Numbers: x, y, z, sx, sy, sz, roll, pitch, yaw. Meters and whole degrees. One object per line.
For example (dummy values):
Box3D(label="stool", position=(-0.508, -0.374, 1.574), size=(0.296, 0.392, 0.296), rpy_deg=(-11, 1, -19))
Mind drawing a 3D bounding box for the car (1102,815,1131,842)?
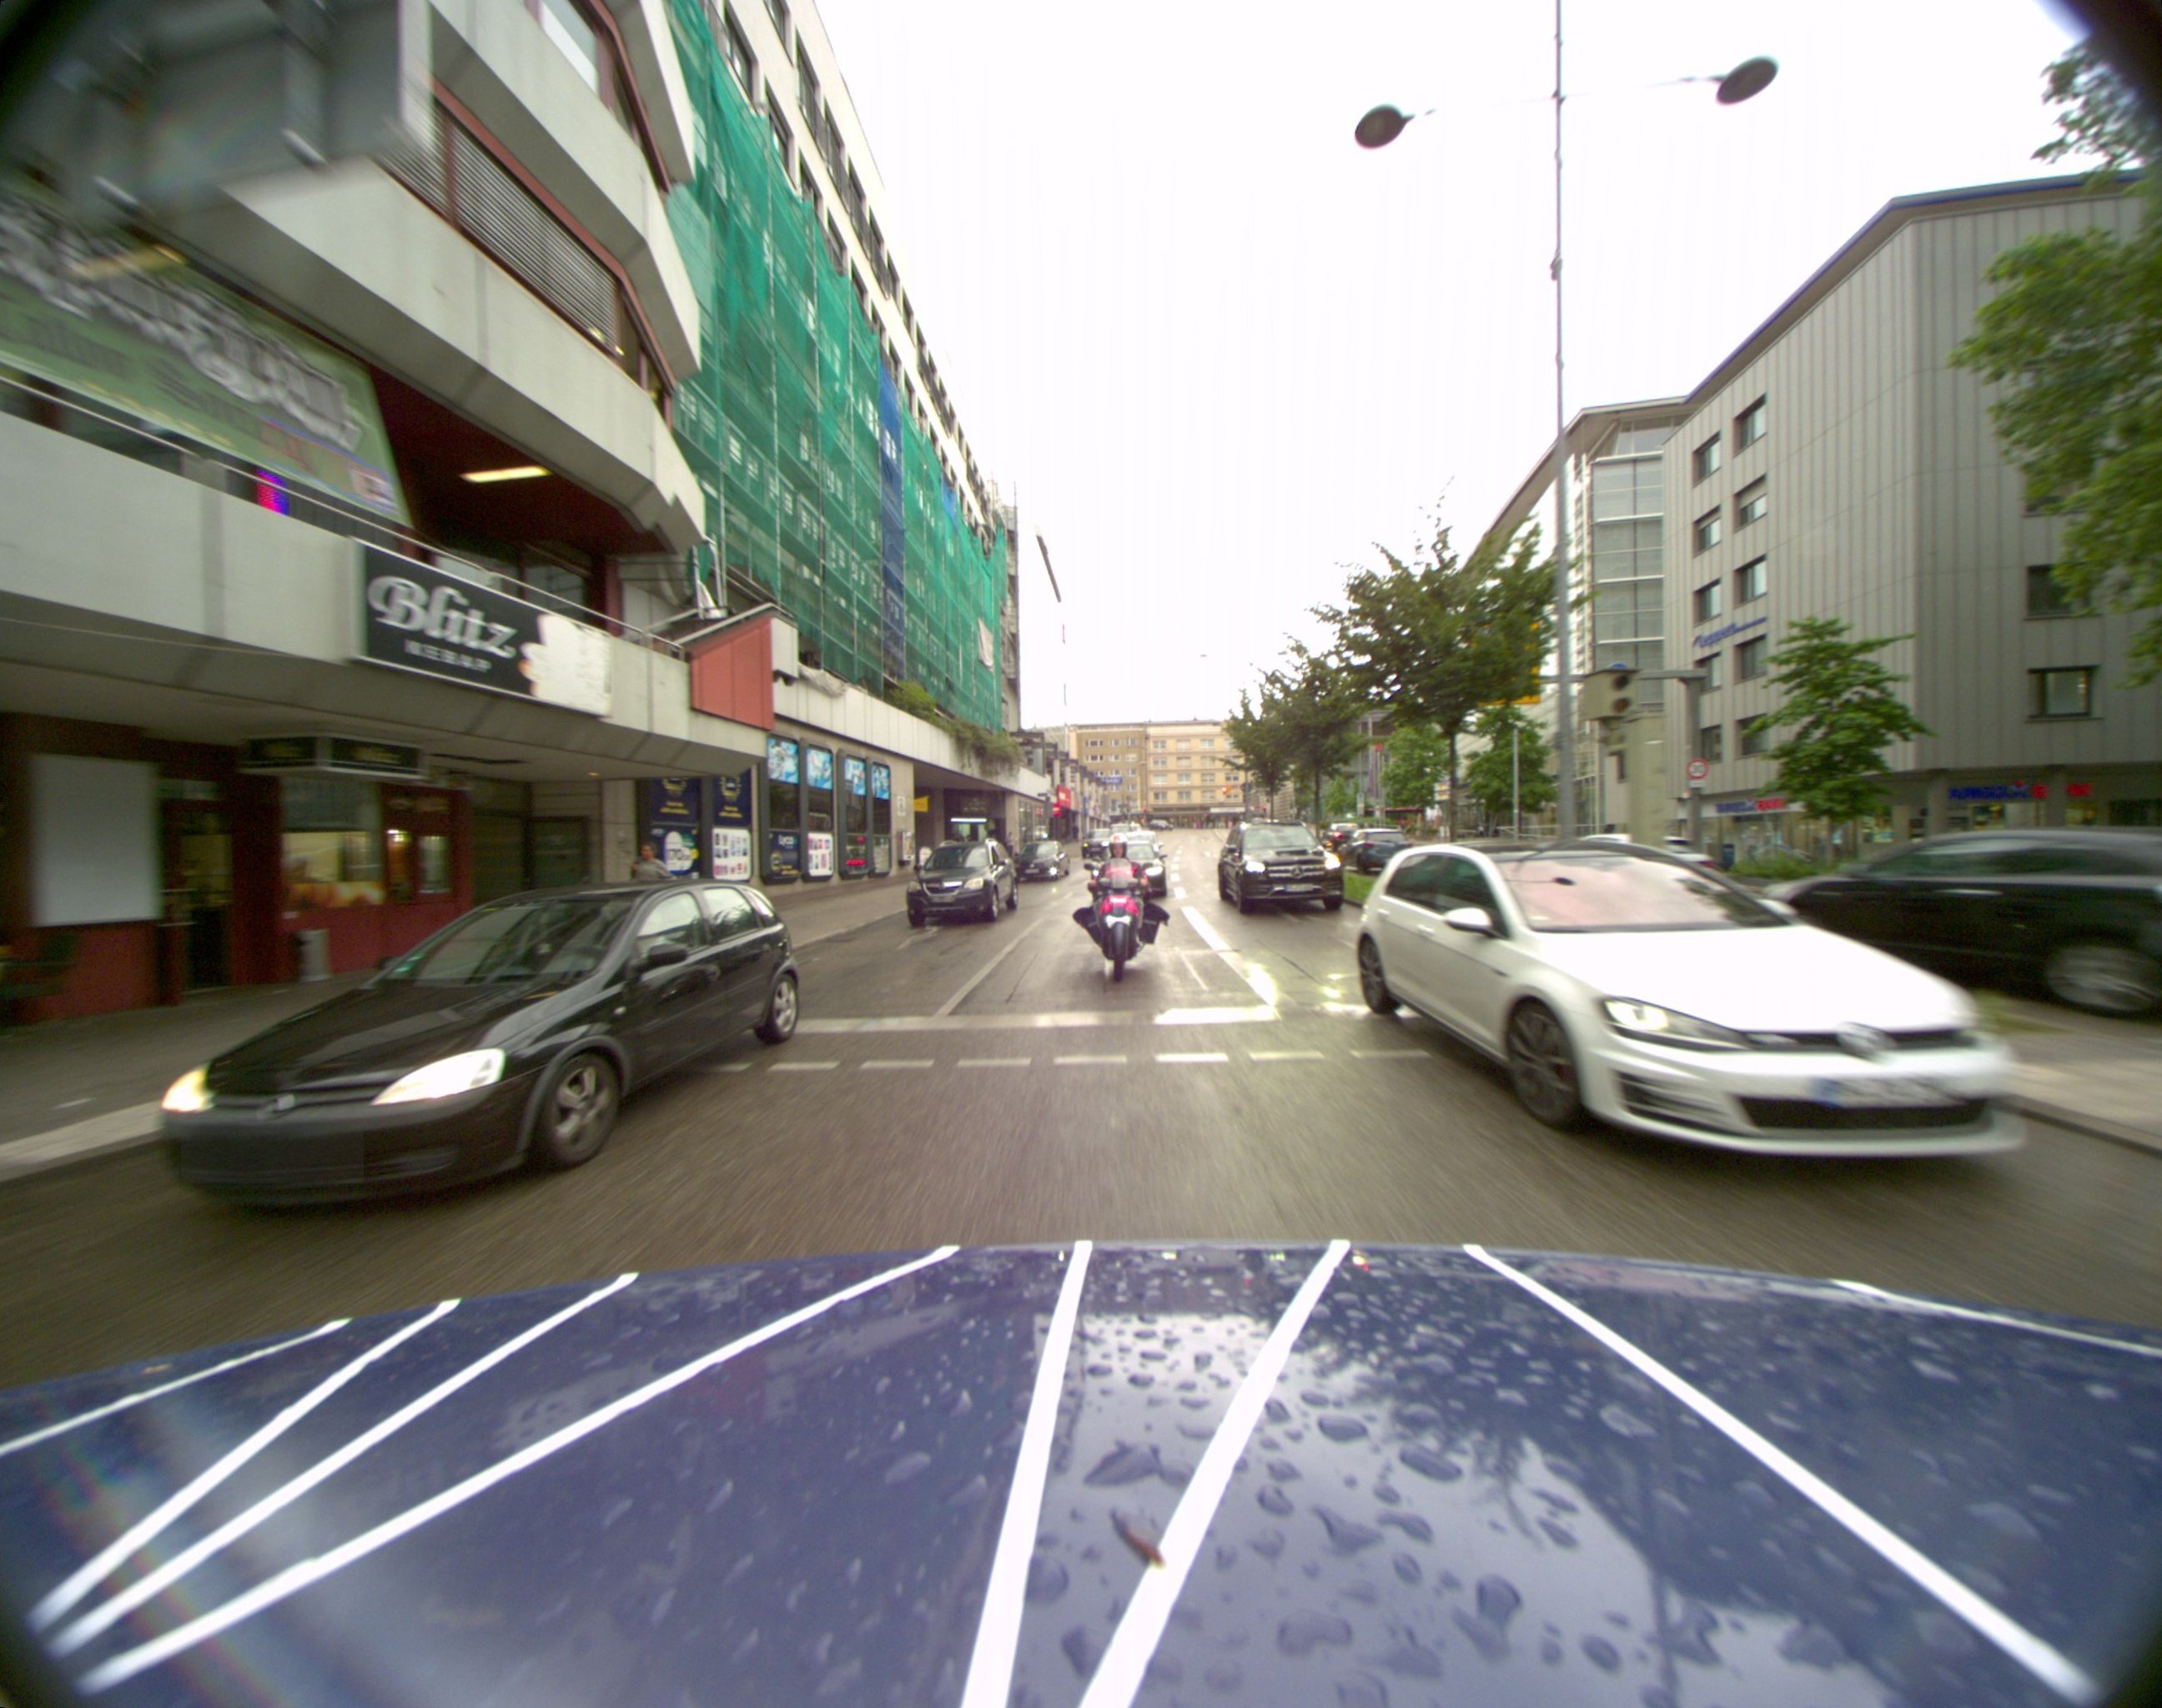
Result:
Box3D(label="car", position=(2.582, -1.837, 53.822), size=(1.831, 1.727, 3.999), rpy_deg=(0, 4, 6))

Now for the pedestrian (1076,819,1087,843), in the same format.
Box3D(label="pedestrian", position=(0.005, -1.773, 58.740), size=(0.707, 1.772, 0.640), rpy_deg=(3, 9, 6))

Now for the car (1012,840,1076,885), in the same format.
Box3D(label="car", position=(-1.379, 0.275, 29.511), size=(1.681, 1.422, 3.777), rpy_deg=(-3, 3, 9))

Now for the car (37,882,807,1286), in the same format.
Box3D(label="car", position=(-3.303, 1.001, 4.853), size=(1.595, 1.432, 3.628), rpy_deg=(-2, 0, 3))

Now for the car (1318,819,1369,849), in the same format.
Box3D(label="car", position=(14.064, -1.084, 40.859), size=(1.622, 1.483, 3.879), rpy_deg=(1, 2, 4))

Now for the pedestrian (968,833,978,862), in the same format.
Box3D(label="pedestrian", position=(-5.731, -0.341, 40.215), size=(0.429, 1.481, 0.524), rpy_deg=(-1, 4, -3))

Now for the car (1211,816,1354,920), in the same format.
Box3D(label="car", position=(4.142, 0.146, 16.464), size=(1.998, 1.768, 4.884), rpy_deg=(-4, 3, 4))

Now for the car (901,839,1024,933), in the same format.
Box3D(label="car", position=(-2.520, 0.597, 17.199), size=(1.735, 1.669, 4.248), rpy_deg=(-3, 2, 4))

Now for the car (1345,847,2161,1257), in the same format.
Box3D(label="car", position=(3.225, 0.747, 4.871), size=(1.769, 1.401, 3.999), rpy_deg=(-3, 2, 2))

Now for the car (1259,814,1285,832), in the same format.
Box3D(label="car", position=(16.751, -2.754, 66.655), size=(1.628, 1.430, 3.646), rpy_deg=(-1, 4, 4))

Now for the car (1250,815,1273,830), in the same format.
Box3D(label="car", position=(19.587, -3.417, 82.533), size=(1.997, 1.501, 4.185), rpy_deg=(-1, 4, 8))

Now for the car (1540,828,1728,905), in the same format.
Box3D(label="car", position=(11.984, 0.204, 16.793), size=(1.675, 1.507, 3.643), rpy_deg=(0, 1, 4))

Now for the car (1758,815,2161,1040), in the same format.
Box3D(label="car", position=(8.324, 0.474, 6.661), size=(1.626, 1.547, 3.660), rpy_deg=(-1, 1, 3))

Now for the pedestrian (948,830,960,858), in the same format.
Box3D(label="pedestrian", position=(-6.814, -0.557, 40.734), size=(0.525, 1.481, 0.428), rpy_deg=(-3, 5, -27))

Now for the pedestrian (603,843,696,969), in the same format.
Box3D(label="pedestrian", position=(-6.518, 0.759, 11.507), size=(0.897, 1.770, 0.805), rpy_deg=(4, 4, 8))

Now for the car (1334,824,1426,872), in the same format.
Box3D(label="car", position=(9.871, -0.246, 25.437), size=(1.717, 1.470, 3.957), rpy_deg=(1, 2, 4))

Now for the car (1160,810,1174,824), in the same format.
Box3D(label="car", position=(11.229, -4.869, 99.216), size=(1.831, 1.727, 3.999), rpy_deg=(0, 4, 6))

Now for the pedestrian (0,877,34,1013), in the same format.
Box3D(label="pedestrian", position=(-12.214, 1.015, 8.441), size=(0.460, 1.479, 0.508), rpy_deg=(-3, 4, -34))

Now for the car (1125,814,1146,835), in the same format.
Box3D(label="car", position=(4.981, -2.707, 69.199), size=(1.831, 1.727, 3.999), rpy_deg=(0, 4, 6))

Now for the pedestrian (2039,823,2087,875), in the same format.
Box3D(label="pedestrian", position=(31.624, -0.167, 24.489), size=(0.622, 1.648, 0.632), rpy_deg=(-1, 4, 10))

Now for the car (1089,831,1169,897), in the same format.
Box3D(label="car", position=(1.427, 0.193, 21.306), size=(1.937, 1.512, 4.468), rpy_deg=(-2, 3, 6))

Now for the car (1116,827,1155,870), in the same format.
Box3D(label="car", position=(2.439, -0.299, 33.409), size=(1.631, 1.732, 3.600), rpy_deg=(-1, 2, 6))

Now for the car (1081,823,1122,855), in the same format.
Box3D(label="car", position=(1.278, -0.903, 44.988), size=(1.775, 1.575, 4.000), rpy_deg=(-4, 3, 9))
